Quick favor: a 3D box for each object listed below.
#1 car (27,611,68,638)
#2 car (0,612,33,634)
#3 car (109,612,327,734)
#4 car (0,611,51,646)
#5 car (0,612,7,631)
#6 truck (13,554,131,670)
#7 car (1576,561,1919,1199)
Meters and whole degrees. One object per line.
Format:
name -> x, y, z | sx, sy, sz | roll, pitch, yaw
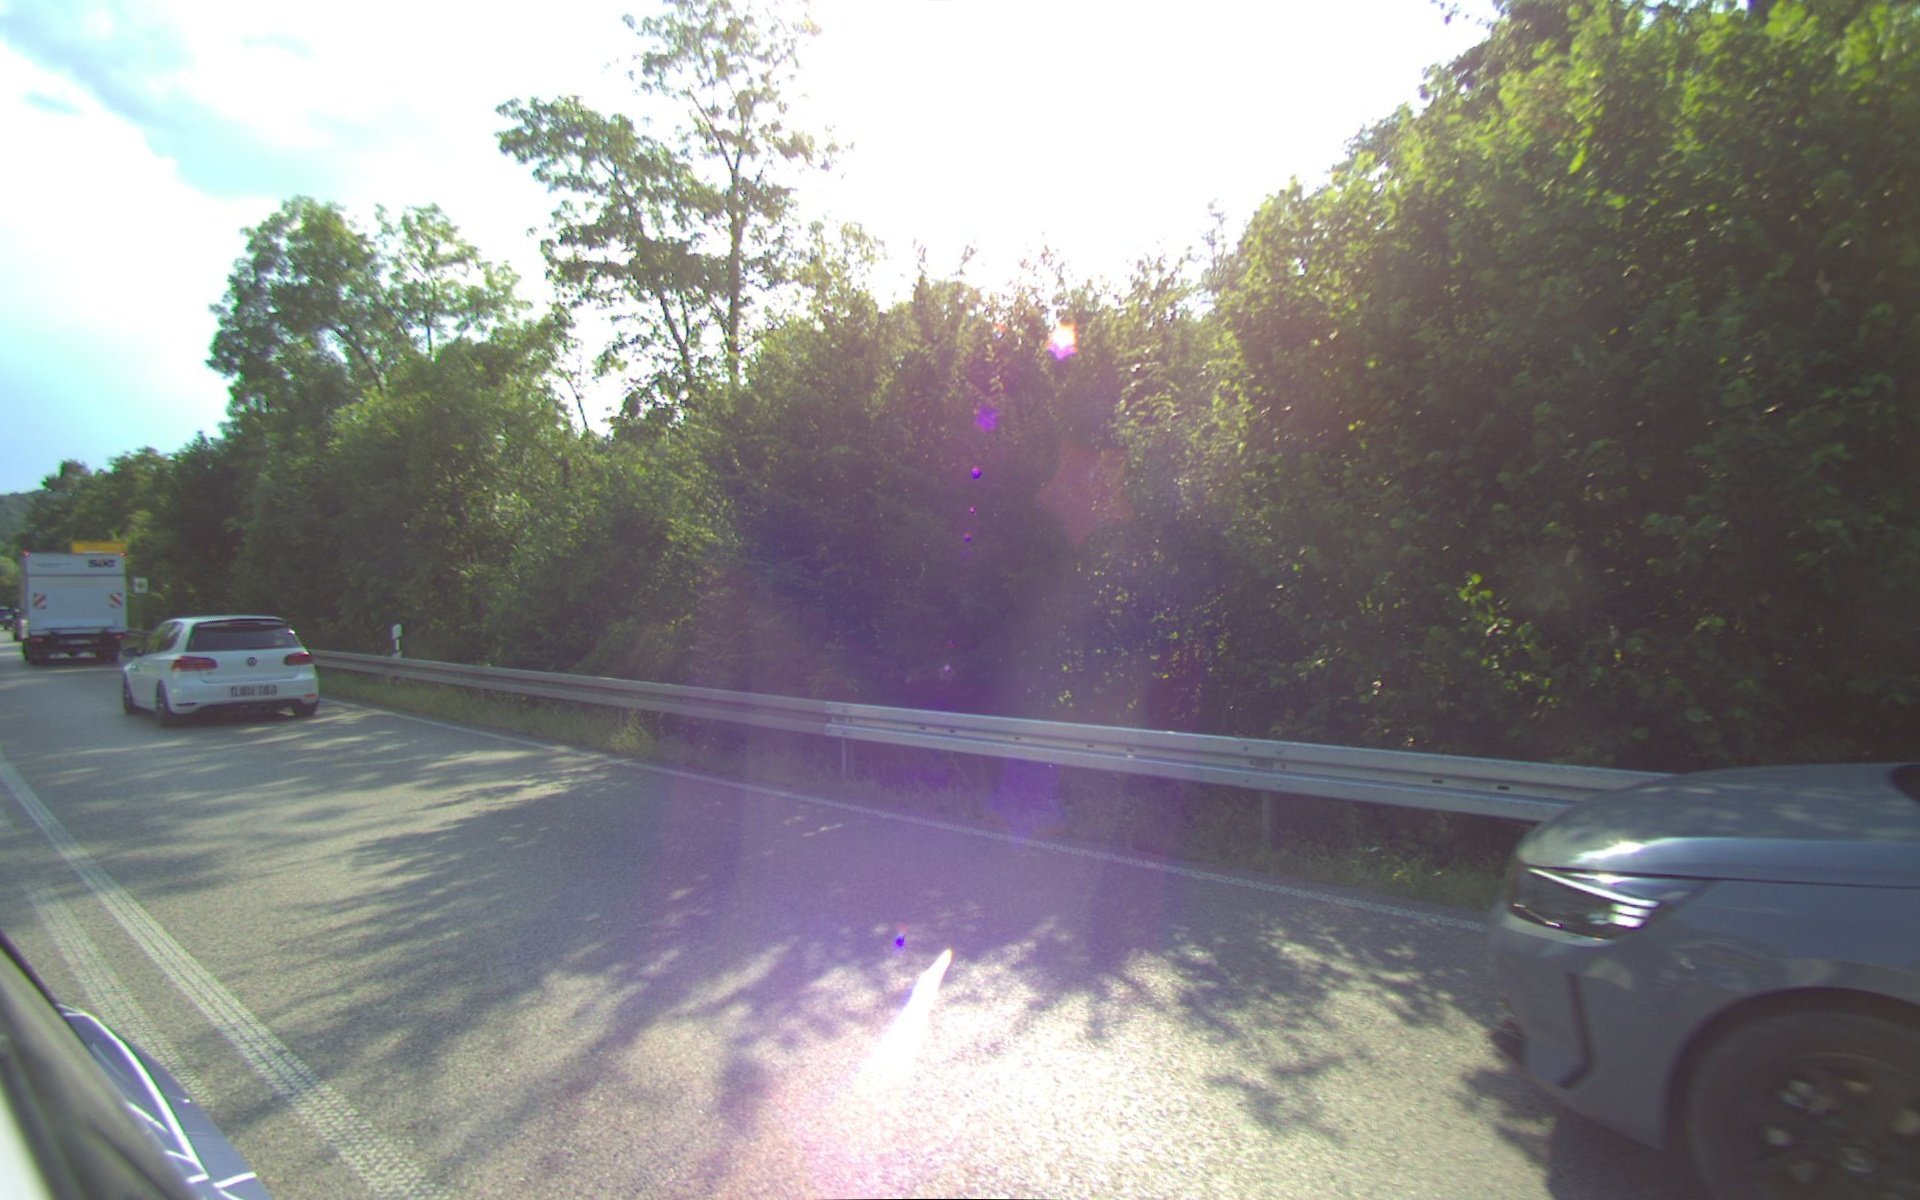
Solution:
car -> -59.984, 1.601, 66.488 | 1.771, 1.644, 4.259 | -1, -1, -45
car -> -72.169, 1.756, 77.315 | 1.771, 1.644, 4.259 | -1, -1, -45
car -> -10.566, 0.927, 14.318 | 3.793, 1.456, 1.773 | -1, 0, 42
car -> -46.962, 1.424, 50.794 | 1.771, 1.644, 4.259 | -1, -1, -45
car -> -85.773, 1.933, 89.748 | 1.771, 1.644, 4.259 | -1, -1, -45
truck -> -26.403, 0.353, 30.025 | 2.427, 3.096, 6.271 | 0, -1, -43
car -> 3.455, 0.625, 1.723 | 3.917, 1.456, 1.644 | -1, -1, 39
